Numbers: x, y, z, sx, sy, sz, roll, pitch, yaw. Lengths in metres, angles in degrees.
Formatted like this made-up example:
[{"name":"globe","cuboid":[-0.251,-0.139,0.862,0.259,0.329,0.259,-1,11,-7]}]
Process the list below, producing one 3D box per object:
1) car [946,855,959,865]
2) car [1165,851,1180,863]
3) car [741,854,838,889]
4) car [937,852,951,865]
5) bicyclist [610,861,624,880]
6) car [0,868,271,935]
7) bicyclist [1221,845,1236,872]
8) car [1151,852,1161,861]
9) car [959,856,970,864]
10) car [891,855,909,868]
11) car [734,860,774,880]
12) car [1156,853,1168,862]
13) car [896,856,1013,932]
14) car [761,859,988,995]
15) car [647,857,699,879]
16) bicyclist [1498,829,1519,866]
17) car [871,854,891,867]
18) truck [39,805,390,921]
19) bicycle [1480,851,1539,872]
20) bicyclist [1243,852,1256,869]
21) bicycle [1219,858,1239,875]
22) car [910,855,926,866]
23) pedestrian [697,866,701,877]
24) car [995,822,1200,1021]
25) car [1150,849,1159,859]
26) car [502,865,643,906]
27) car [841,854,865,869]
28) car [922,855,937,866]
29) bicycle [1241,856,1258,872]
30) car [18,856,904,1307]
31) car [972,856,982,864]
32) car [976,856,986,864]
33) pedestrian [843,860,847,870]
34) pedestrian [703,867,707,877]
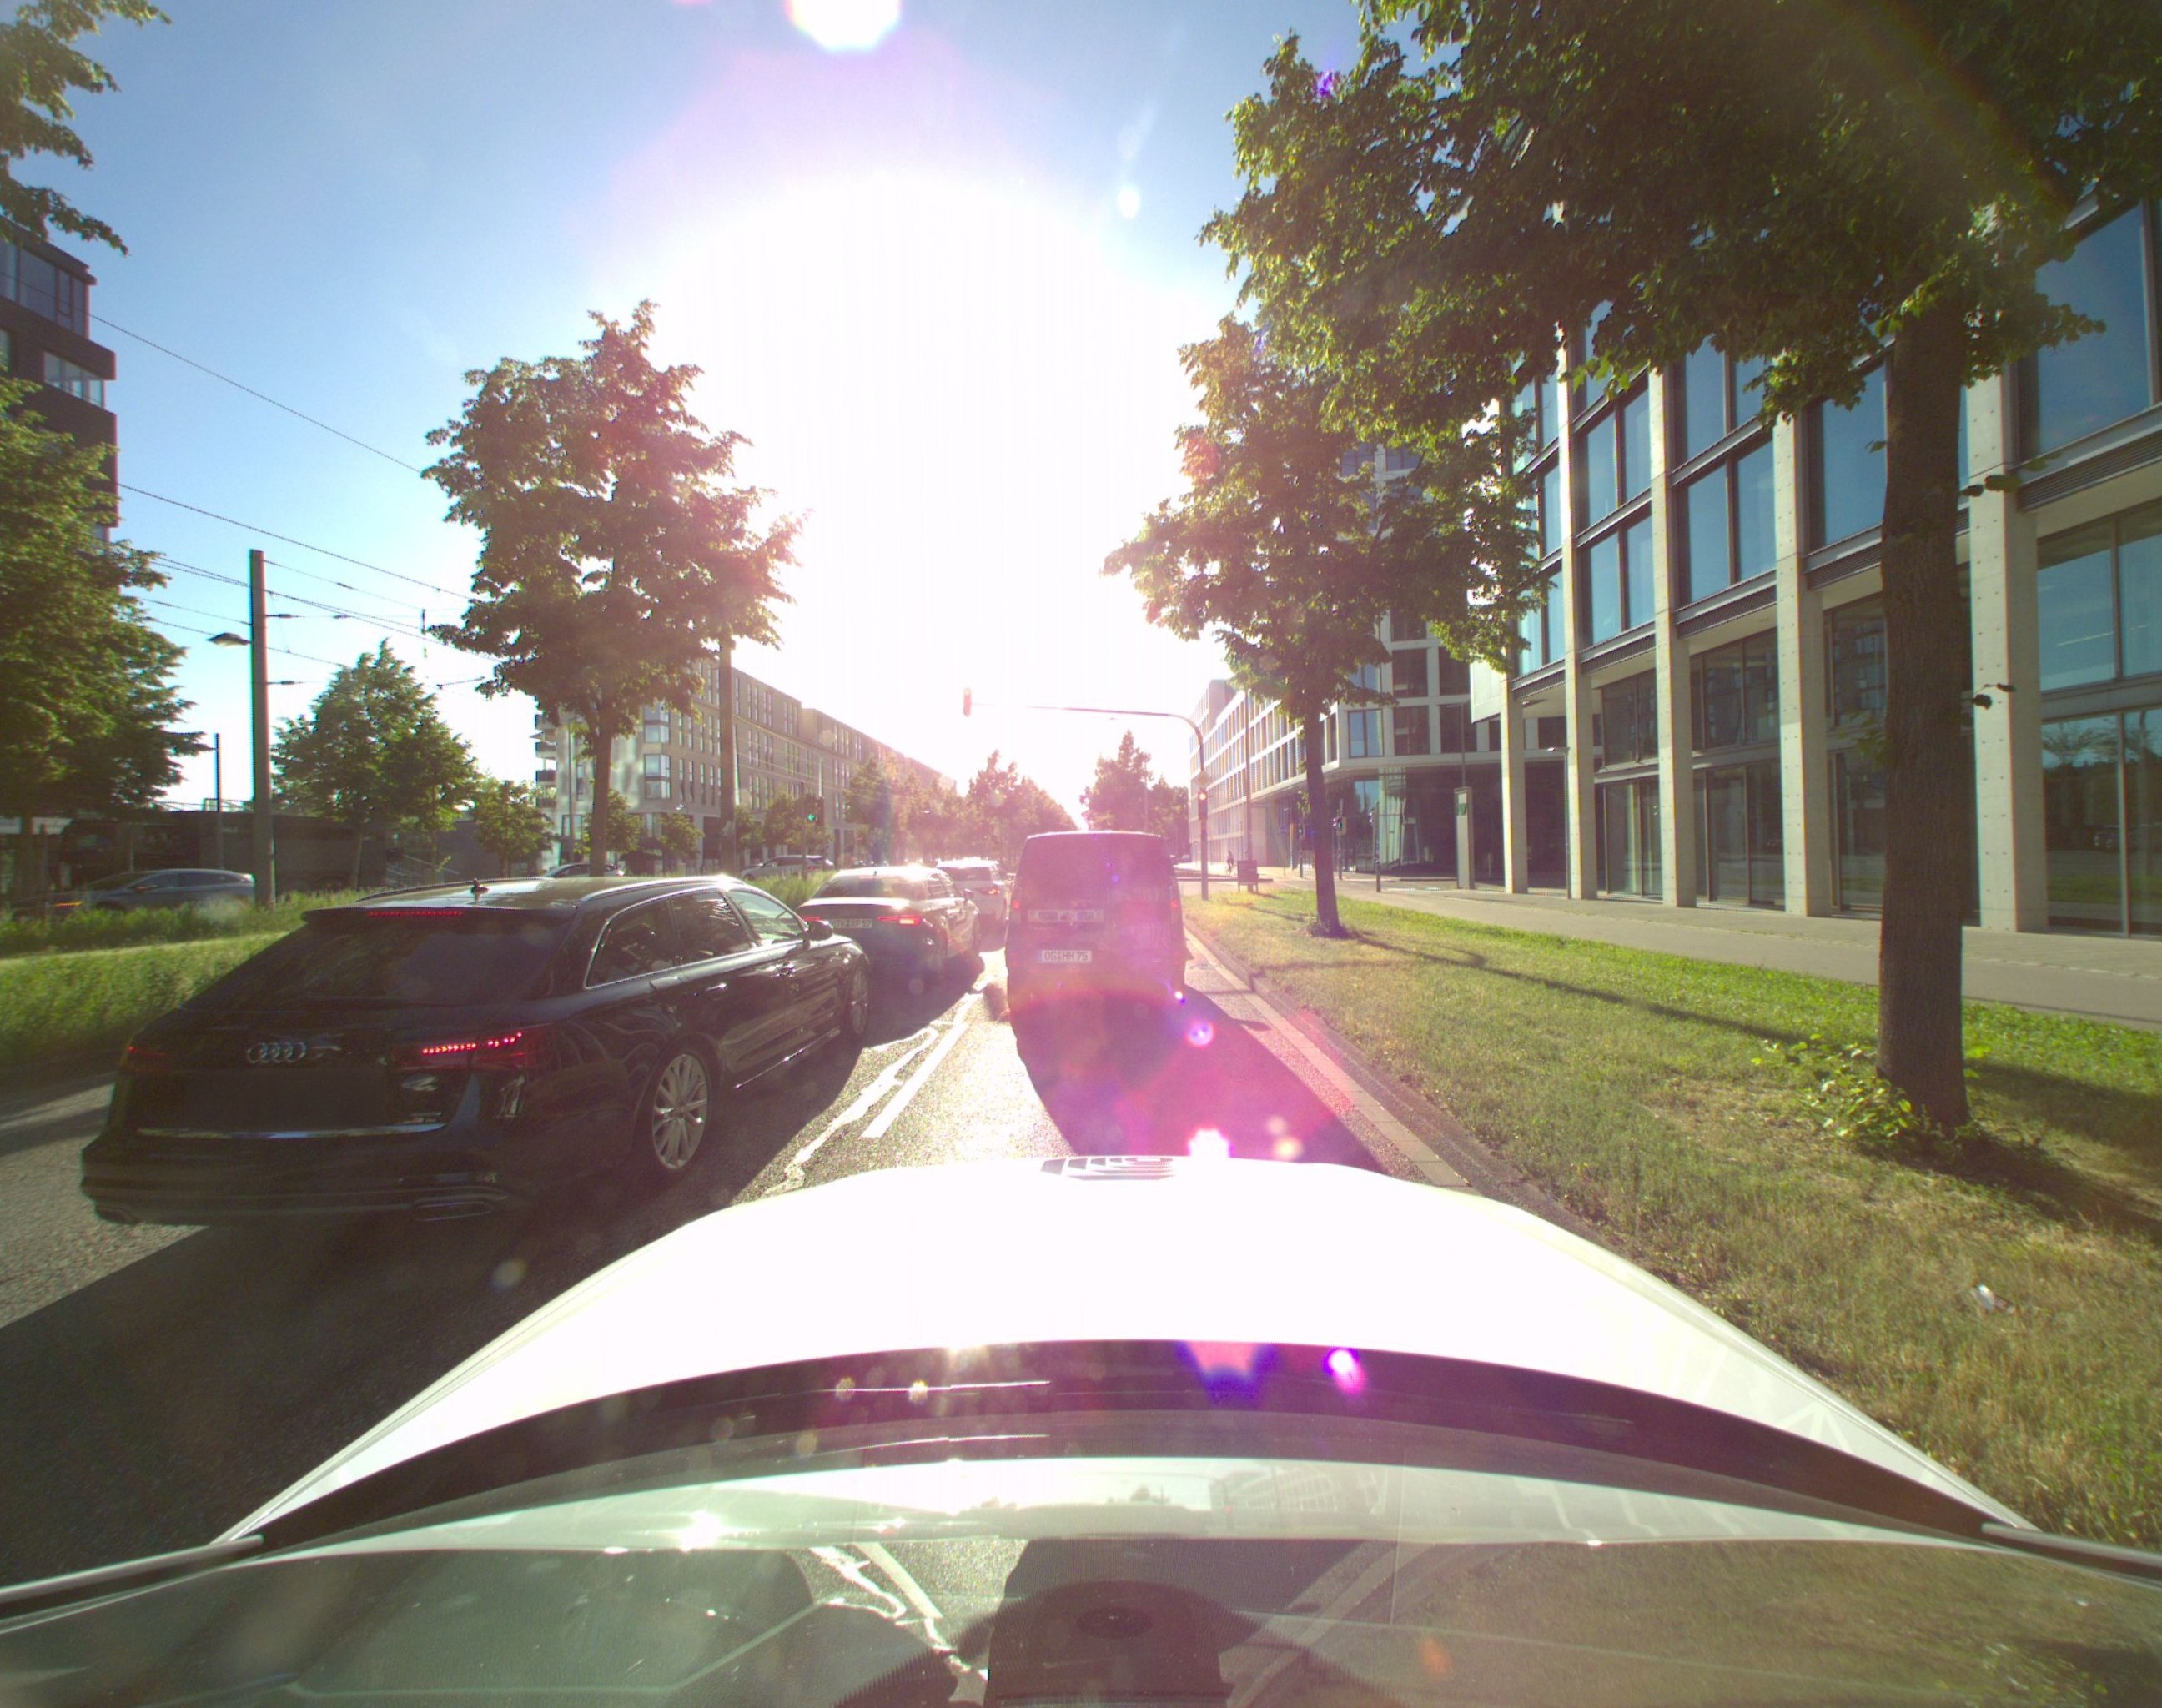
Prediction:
[{"name":"car","cuboid":[-28.890,1.341,183.365,1.986,2.013,4.002,-1,0,2]},{"name":"car","cuboid":[14.335,0.439,127.973,1.986,1.782,4.002,-1,0,2]},{"name":"car","cuboid":[-13.213,0.774,36.851,4.164,1.492,1.528,-1,0,23]},{"name":"car","cuboid":[-28.425,0.977,169.291,1.986,2.607,4.002,-1,0,2]},{"name":"bicyclist","cuboid":[-38.090,1.338,66.824,0.674,1.529,0.714,-1,0,1]},{"name":"car","cuboid":[-24.734,1.169,21.611,1.792,1.447,4.571,-1,0,2]},{"name":"bicyclist","cuboid":[10.785,0.310,59.662,0.813,1.947,1.001,-1,0,-2]},{"name":"car","cuboid":[16.518,0.556,179.676,1.986,1.782,4.002,-1,0,2]},{"name":"car","cuboid":[-28.598,1.436,200.184,1.986,2.013,4.002,-1,0,2]},{"name":"car","cuboid":[-30.578,1.285,137.457,1.986,2.013,4.002,-1,0,2]},{"name":"car","cuboid":[-31.795,1.543,79.246,1.986,1.814,4.372,-1,0,2]},{"name":"car","cuboid":[15.974,0.642,160.474,1.986,1.782,4.002,-1,0,2]},{"name":"car","cuboid":[-2.623,0.789,17.772,1.797,1.426,3.902,-1,0,2]},{"name":"car","cuboid":[-2.520,0.813,11.105,1.835,1.426,4.340,-1,0,2]},{"name":"car","cuboid":[-31.044,1.046,62.074,1.758,1.520,4.002,-1,0,2]},{"name":"bicyclist","cuboid":[24.956,-0.380,47.555,0.932,2.092,0.821,-1,0,16]},{"name":"car","cuboid":[-30.749,0.997,125.141,1.986,2.013,4.002,-1,0,2]},{"name":"truck","cuboid":[-33.631,0.296,32.647,2.880,3.853,10.218,-1,0,2]},{"name":"bicycle","cuboid":[24.990,0.446,47.536,2.919,1.190,0.821,-1,0,16]},{"name":"bicyclist","cuboid":[12.306,0.477,59.612,0.814,1.275,0.683,-1,0,4]},{"name":"bicycle","cuboid":[10.812,0.902,59.643,0.813,1.190,2.949,-1,0,-2]},{"name":"car","cuboid":[-30.099,1.143,150.285,1.986,2.013,4.002,-1,0,2]},{"name":"pedestrian","cuboid":[-40.265,1.856,85.916,0.253,1.085,0.260,-1,0,1]},{"name":"car","cuboid":[0.211,0.613,9.427,1.835,1.780,4.002,-1,0,2]},{"name":"car","cuboid":[17.903,0.038,198.177,1.986,2.497,4.988,-1,0,2]},{"name":"car","cuboid":[-20.851,1.261,33.547,1.782,1.447,4.597,-1,0,40]},{"name":"car","cuboid":[-30.876,0.998,110.595,1.986,2.013,4.002,-1,0,2]},{"name":"car","cuboid":[-29.685,1.198,159.382,1.986,2.013,4.002,-1,0,2]},{"name":"bicycle","cuboid":[12.319,0.750,59.655,0.814,1.114,2.848,-1,0,3]},{"name":"car","cuboid":[-2.670,0.788,5.283,1.868,1.484,4.967,-1,0,1]},{"name":"car","cuboid":[-27.886,1.545,218.197,1.986,2.013,4.002,-1,0,2]},{"name":"car","cuboid":[-27.428,1.583,223.813,1.986,2.013,4.002,-1,0,2]},{"name":"pedestrian","cuboid":[-39.187,1.854,135.148,0.466,1.744,0.480,-1,0,1]},{"name":"pedestrian","cuboid":[-39.715,1.873,85.968,0.253,1.085,0.289,-1,0,1]}]
